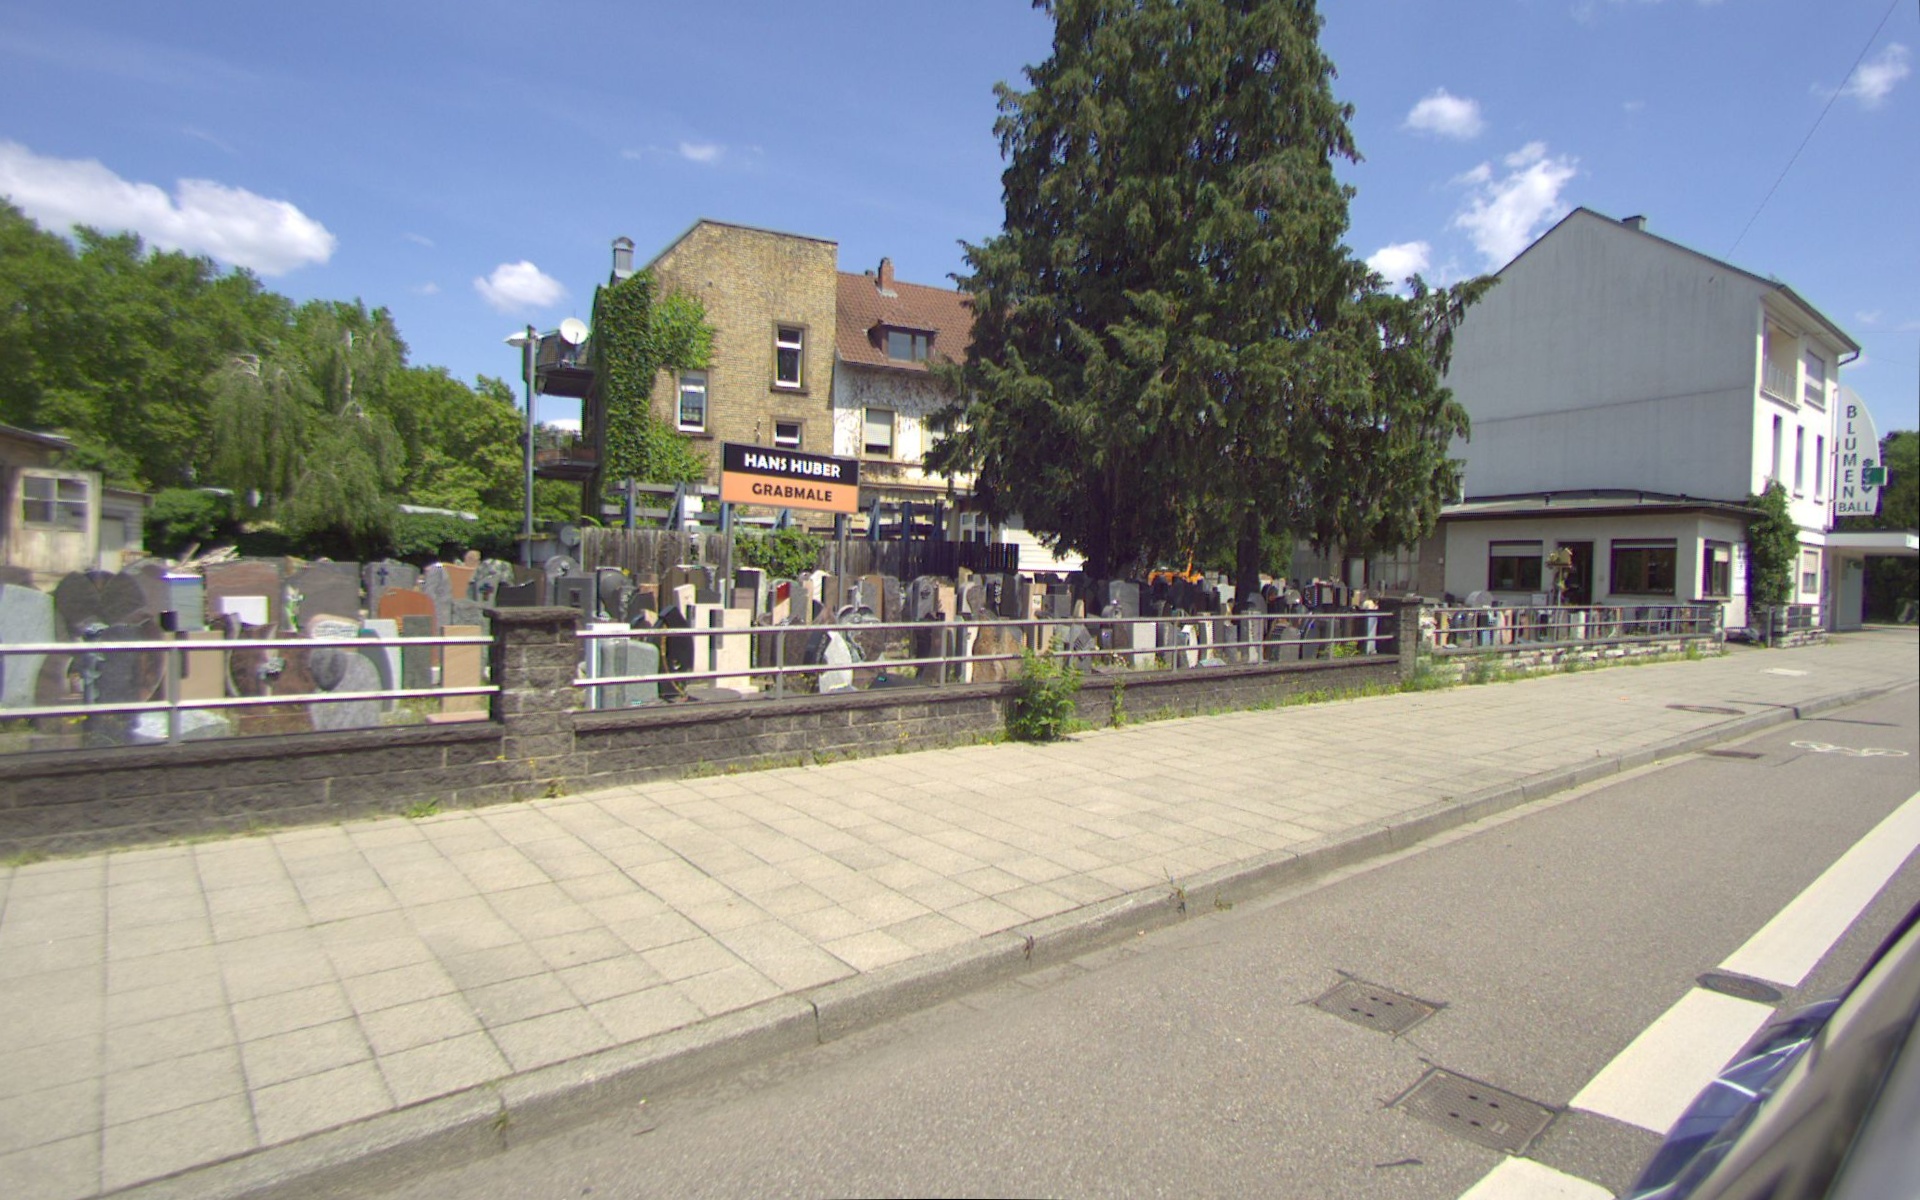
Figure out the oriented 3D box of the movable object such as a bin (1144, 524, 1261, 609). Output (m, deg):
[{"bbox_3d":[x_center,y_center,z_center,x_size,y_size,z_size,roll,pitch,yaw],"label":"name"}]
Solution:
[{"bbox_3d":[8.129,-1.124,33.828,3.739,2.650,1.745,-1,4,-37],"label":"movable object such as a bin"}]
